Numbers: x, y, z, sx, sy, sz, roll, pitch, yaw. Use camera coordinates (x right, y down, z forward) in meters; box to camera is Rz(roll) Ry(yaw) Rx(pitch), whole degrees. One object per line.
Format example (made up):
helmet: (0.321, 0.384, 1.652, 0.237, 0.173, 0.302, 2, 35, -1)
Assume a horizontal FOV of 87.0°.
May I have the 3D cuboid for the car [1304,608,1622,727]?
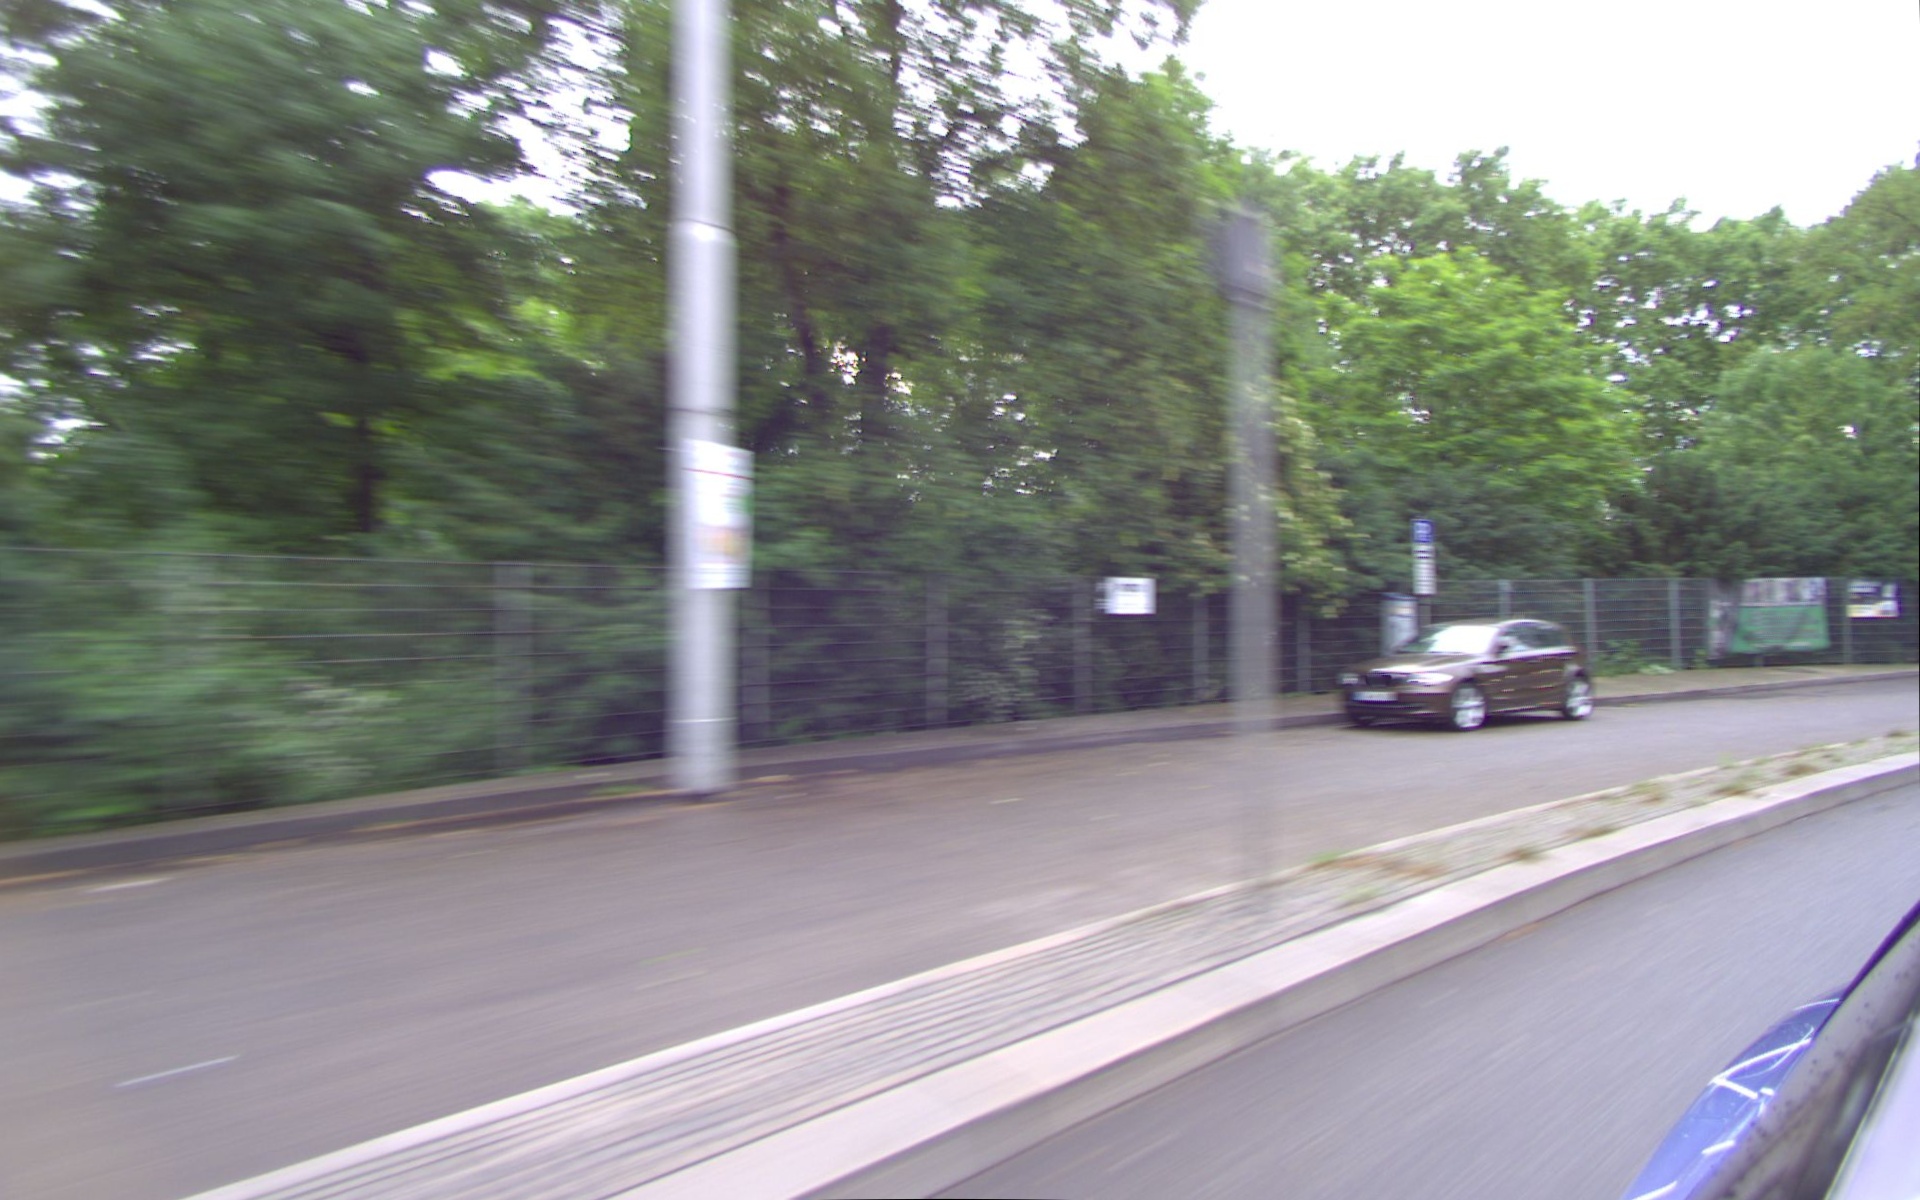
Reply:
car: (6.924, 0.872, 13.879, 4.090, 1.395, 1.879, 0, -4, -30)
